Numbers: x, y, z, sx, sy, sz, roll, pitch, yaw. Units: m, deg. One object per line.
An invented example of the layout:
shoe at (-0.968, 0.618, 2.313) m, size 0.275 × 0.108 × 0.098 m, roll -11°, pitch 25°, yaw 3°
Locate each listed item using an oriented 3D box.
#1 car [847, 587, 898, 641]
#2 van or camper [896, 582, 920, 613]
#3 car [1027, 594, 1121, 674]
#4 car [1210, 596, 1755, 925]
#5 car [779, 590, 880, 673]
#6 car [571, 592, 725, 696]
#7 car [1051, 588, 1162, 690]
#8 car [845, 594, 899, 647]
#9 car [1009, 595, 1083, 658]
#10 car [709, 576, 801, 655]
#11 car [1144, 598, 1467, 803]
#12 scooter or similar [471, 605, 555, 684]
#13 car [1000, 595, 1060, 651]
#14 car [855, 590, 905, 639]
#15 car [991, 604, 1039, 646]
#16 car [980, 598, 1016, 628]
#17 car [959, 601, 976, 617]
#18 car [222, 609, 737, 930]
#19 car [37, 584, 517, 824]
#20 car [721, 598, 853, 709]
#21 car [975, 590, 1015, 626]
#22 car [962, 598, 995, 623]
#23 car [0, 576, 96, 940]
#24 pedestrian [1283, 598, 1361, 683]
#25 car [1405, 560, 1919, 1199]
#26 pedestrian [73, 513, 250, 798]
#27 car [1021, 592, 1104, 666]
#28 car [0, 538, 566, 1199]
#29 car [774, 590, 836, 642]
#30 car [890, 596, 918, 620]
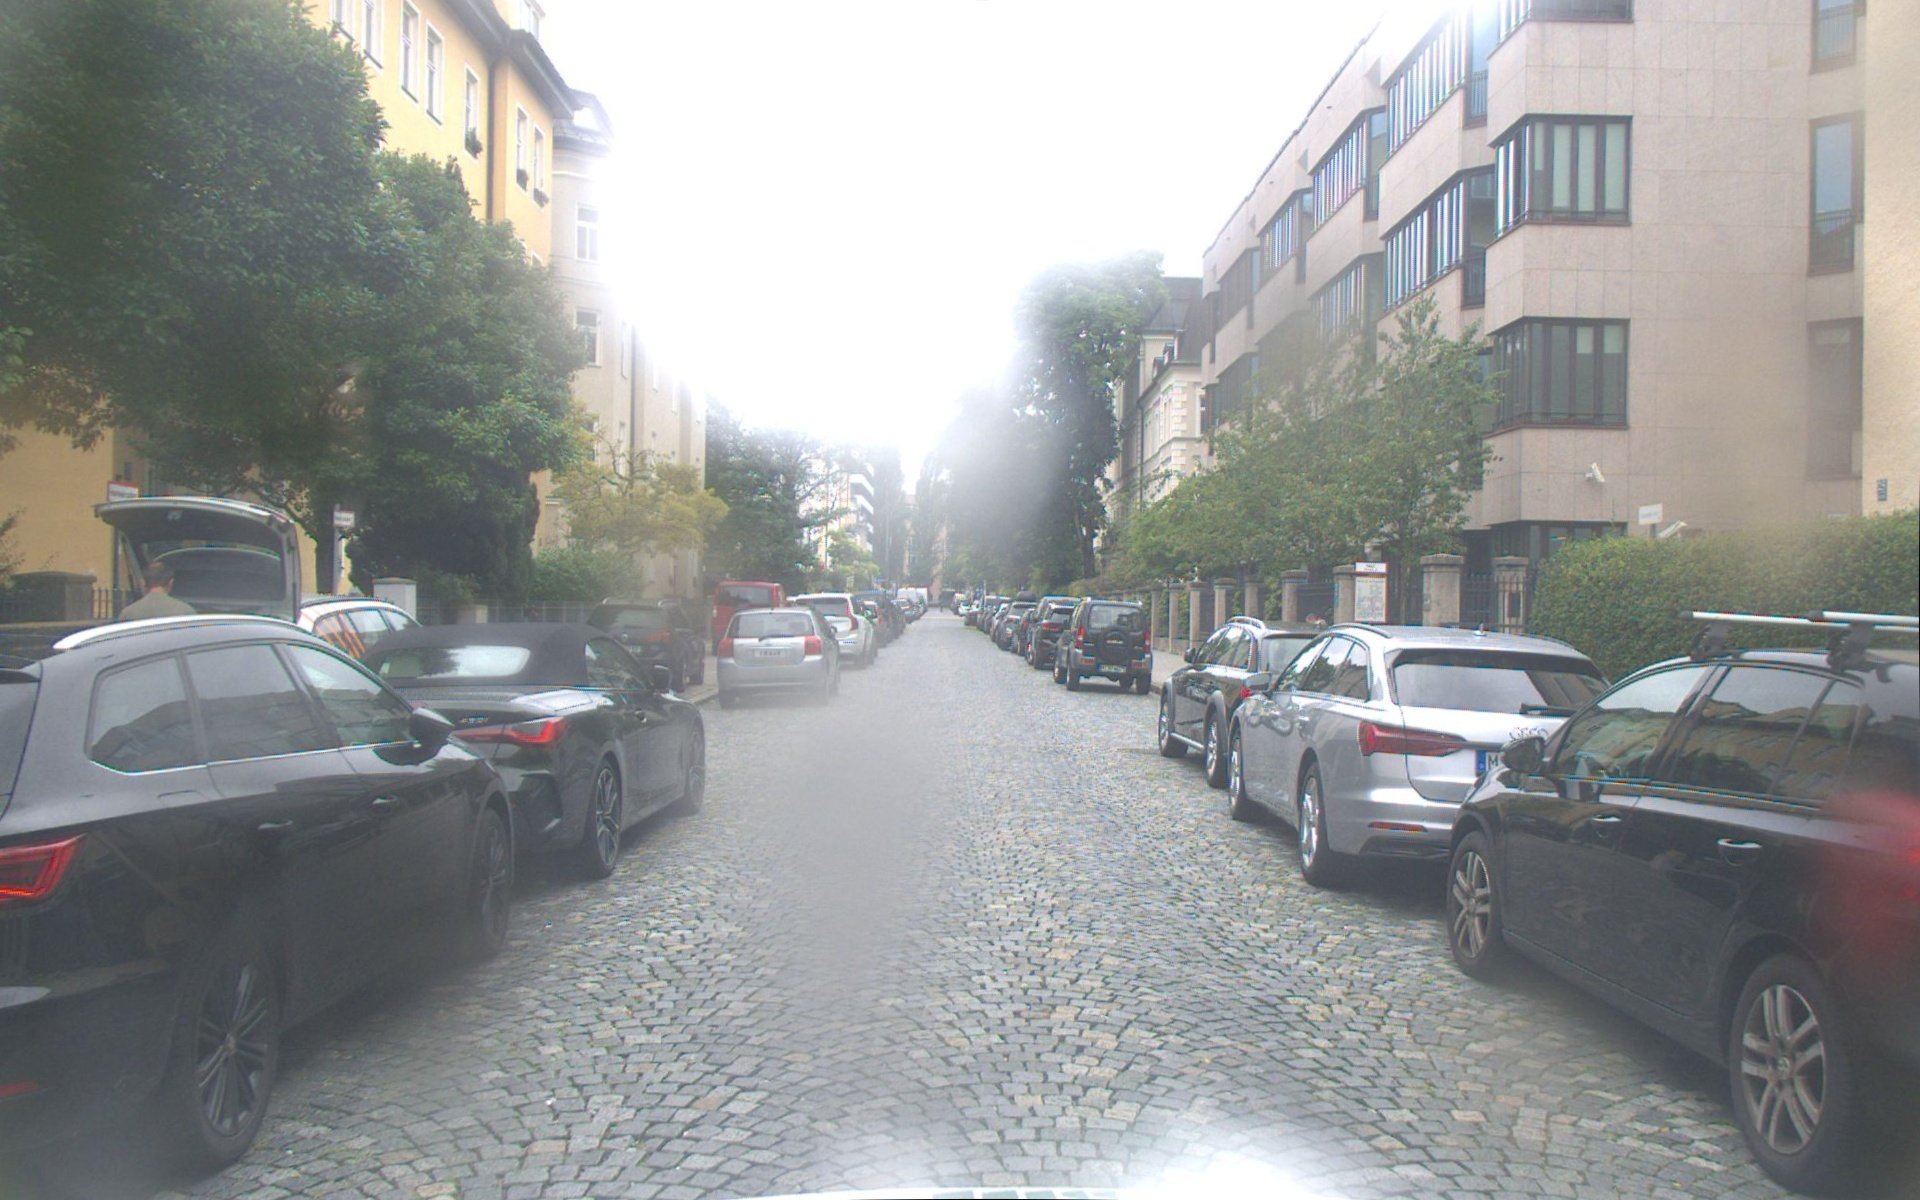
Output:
car at (-3.376, 0.528, 64.400) m, size 1.835 × 1.950 × 4.826 m, roll -1°, pitch 0°, yaw -2°
van or camper at (-4.664, -0.204, 148.376) m, size 1.953 × 2.698 × 4.000 m, roll -2°, pitch 0°, yaw 0°
car at (2.743, 0.792, 40.723) m, size 1.823 × 1.731 × 4.812 m, roll 4°, pitch 0°, yaw -1°
car at (3.021, 0.816, 10.852) m, size 1.953 × 1.579 × 4.985 m, roll 2°, pitch 0°, yaw 0°
car at (-3.060, 0.710, 39.785) m, size 1.965 × 1.840 × 5.174 m, roll -1°, pitch 0°, yaw 0°
car at (-5.140, 0.681, 27.841) m, size 1.680 × 1.523 × 4.720 m, roll 3°, pitch 0°, yaw -1°
car at (2.790, 0.709, 32.245) m, size 1.586 × 1.781 × 3.885 m, roll 4°, pitch 0°, yaw -2°
car at (-3.152, 0.706, 59.278) m, size 1.828 × 1.765 × 4.401 m, roll -2°, pitch 0°, yaw -3°
car at (2.664, 0.800, 52.158) m, size 1.836 × 1.765 × 4.657 m, roll 5°, pitch 0°, yaw -2°
car at (-5.546, 0.391, 45.308) m, size 1.954 × 1.965 × 5.328 m, roll 2°, pitch 0°, yaw -2°
car at (3.121, 0.829, 16.075) m, size 1.953 × 1.579 × 5.013 m, roll 3°, pitch 0°, yaw -1°
scooter or similar at (-7.439, 0.729, 27.625) m, size 0.937 × 1.221 × 1.522 m, roll 3°, pitch 0°, yaw -1°
car at (2.372, 0.785, 57.235) m, size 1.835 × 1.765 × 4.892 m, roll 3°, pitch 0°, yaw 1°
car at (-3.385, 0.606, 70.801) m, size 1.953 × 1.950 × 5.175 m, roll -3°, pitch 0°, yaw -2°
car at (2.235, 0.990, 68.134) m, size 1.835 × 1.516 × 4.617 m, roll 3°, pitch 0°, yaw 1°
car at (2.036, 0.688, 89.998) m, size 1.799 × 1.516 × 4.421 m, roll 3°, pitch 0°, yaw 0°
car at (0.766, 0.900, 169.373) m, size 1.753 × 1.547 × 4.000 m, roll 1°, pitch 0°, yaw 0°
car at (-2.658, 0.834, 10.460) m, size 1.777 × 1.480 × 4.912 m, roll -2°, pitch 0°, yaw 0°
car at (-4.912, 0.657, 12.702) m, size 1.739 × 1.441 × 4.561 m, roll 2°, pitch 0°, yaw 0°
car at (-2.674, 0.787, 26.423) m, size 1.679 × 1.589 × 4.389 m, roll -1°, pitch 0°, yaw -1°
car at (2.004, 0.451, 95.715) m, size 1.836 × 1.962 × 5.161 m, roll 3°, pitch 0°, yaw -3°
car at (1.184, 0.659, 107.686) m, size 1.836 × 1.529 × 4.509 m, roll 3°, pitch 0°, yaw -3°
car at (-4.907, 0.643, 5.544) m, size 1.704 × 1.563 × 4.465 m, roll 2°, pitch 0°, yaw -2°
pedestrian at (6.743, 0.738, 30.852) m, size 1.192 × 1.519 × 1.129 m, roll -2°, pitch 0°, yaw 1°
car at (3.158, 0.786, 5.915) m, size 1.855 × 1.682 × 4.293 m, roll 2°, pitch 0°, yaw -1°
pedestrian at (-4.884, 0.330, 10.148) m, size 0.750 × 1.679 × 0.582 m, roll 1°, pitch 0°, yaw 0°
car at (2.811, 0.760, 46.166) m, size 1.753 × 1.827 × 4.507 m, roll 4°, pitch 0°, yaw -2°
car at (-2.706, 0.703, 5.702) m, size 1.704 × 1.631 × 4.535 m, roll -1°, pitch 0°, yaw -2°
car at (-5.754, 0.589, 61.875) m, size 1.906 × 1.765 × 4.656 m, roll 4°, pitch 0°, yaw -2°
car at (-3.927, 0.542, 115.684) m, size 1.836 × 1.607 × 4.253 m, roll -2°, pitch 0°, yaw -3°
